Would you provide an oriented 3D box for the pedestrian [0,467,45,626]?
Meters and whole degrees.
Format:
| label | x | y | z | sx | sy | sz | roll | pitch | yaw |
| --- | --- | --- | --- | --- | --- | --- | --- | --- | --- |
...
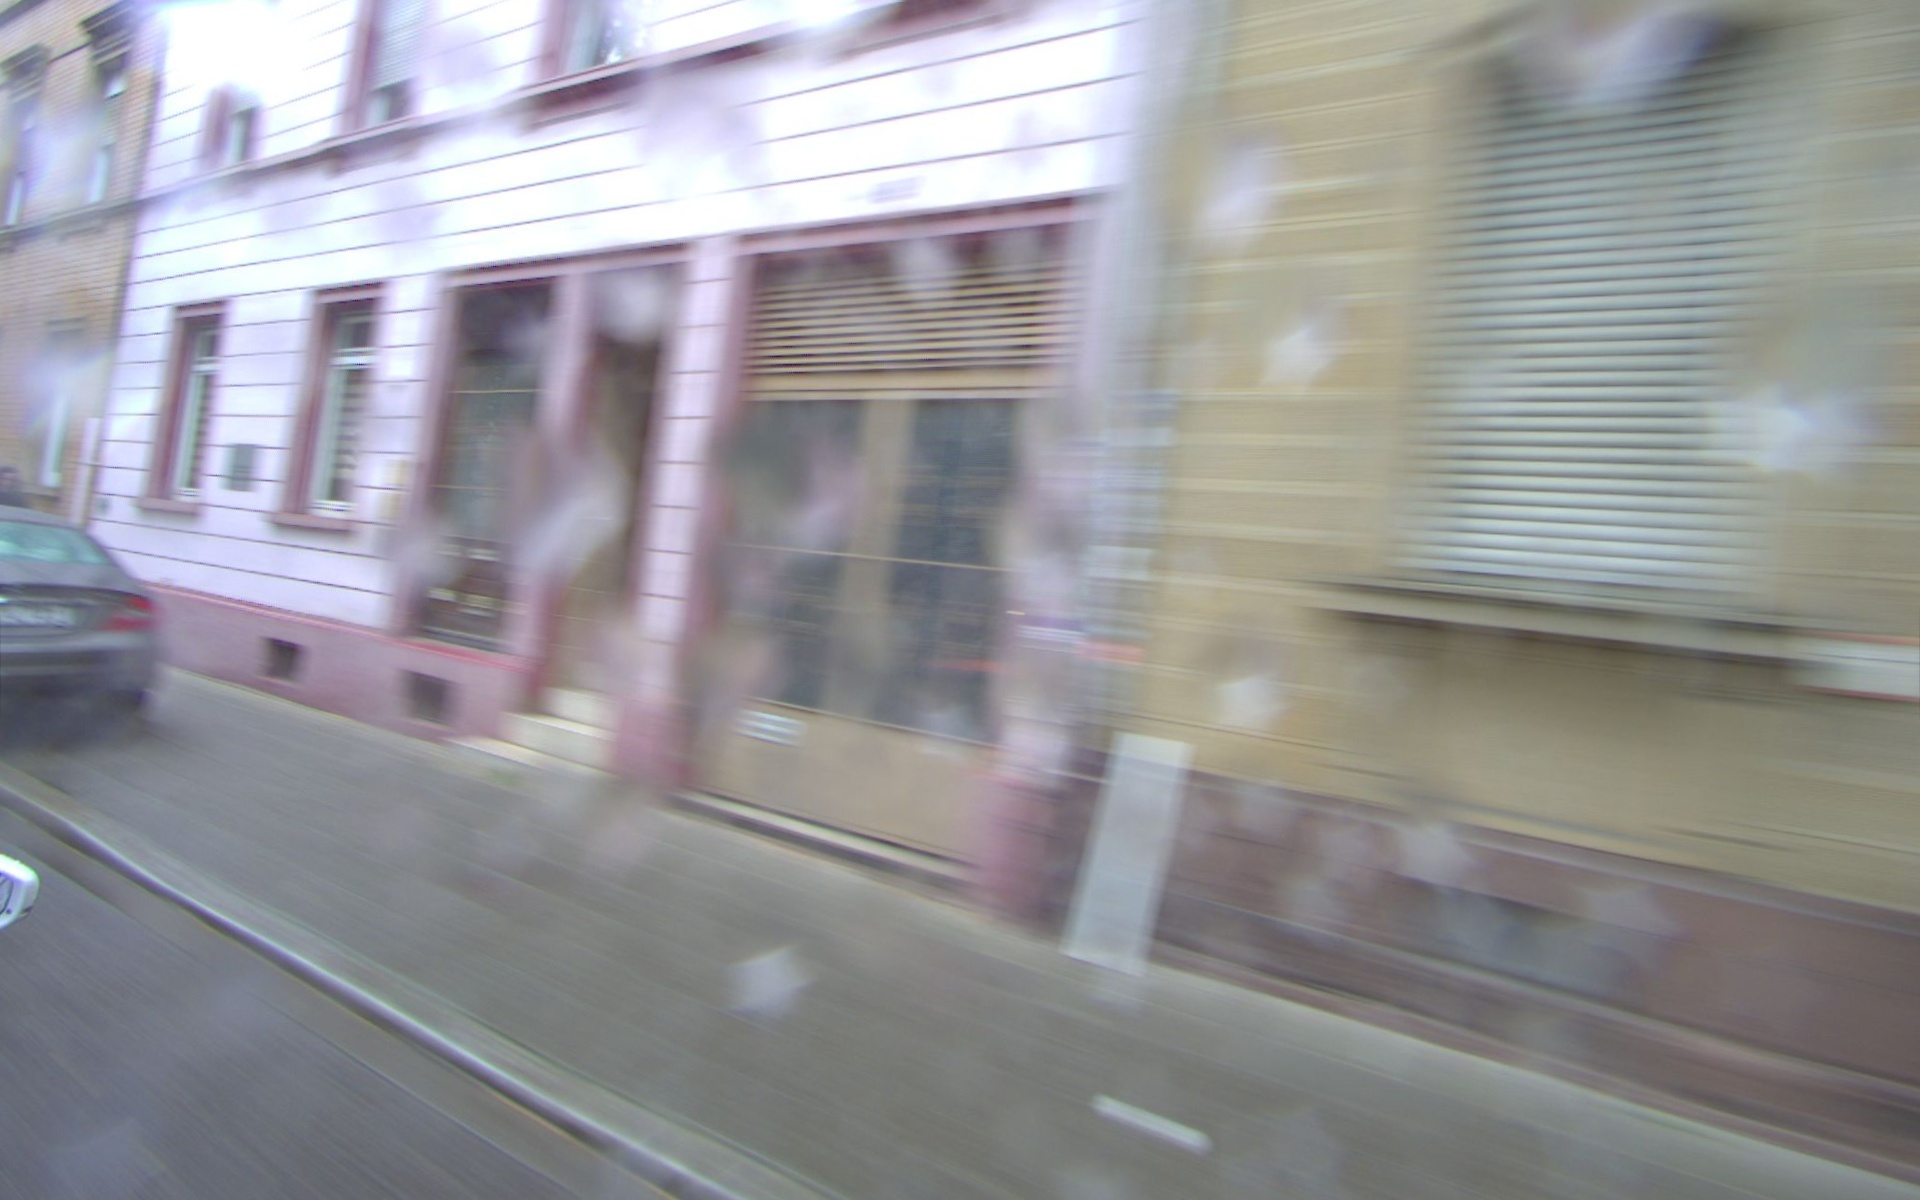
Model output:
| label | x | y | z | sx | sy | sz | roll | pitch | yaw |
| --- | --- | --- | --- | --- | --- | --- | --- | --- | --- |
| pedestrian | -10.643 | -0.612 | 11.032 | 0.593 | 1.706 | 0.639 | 7 | 1 | 30 |

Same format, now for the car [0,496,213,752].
| label | x | y | z | sx | sy | sz | roll | pitch | yaw |
| --- | --- | --- | --- | --- | --- | --- | --- | --- | --- |
| car | -7.255 | -0.058 | 7.012 | 4.622 | 1.438 | 1.814 | 6 | 0 | 34 |
